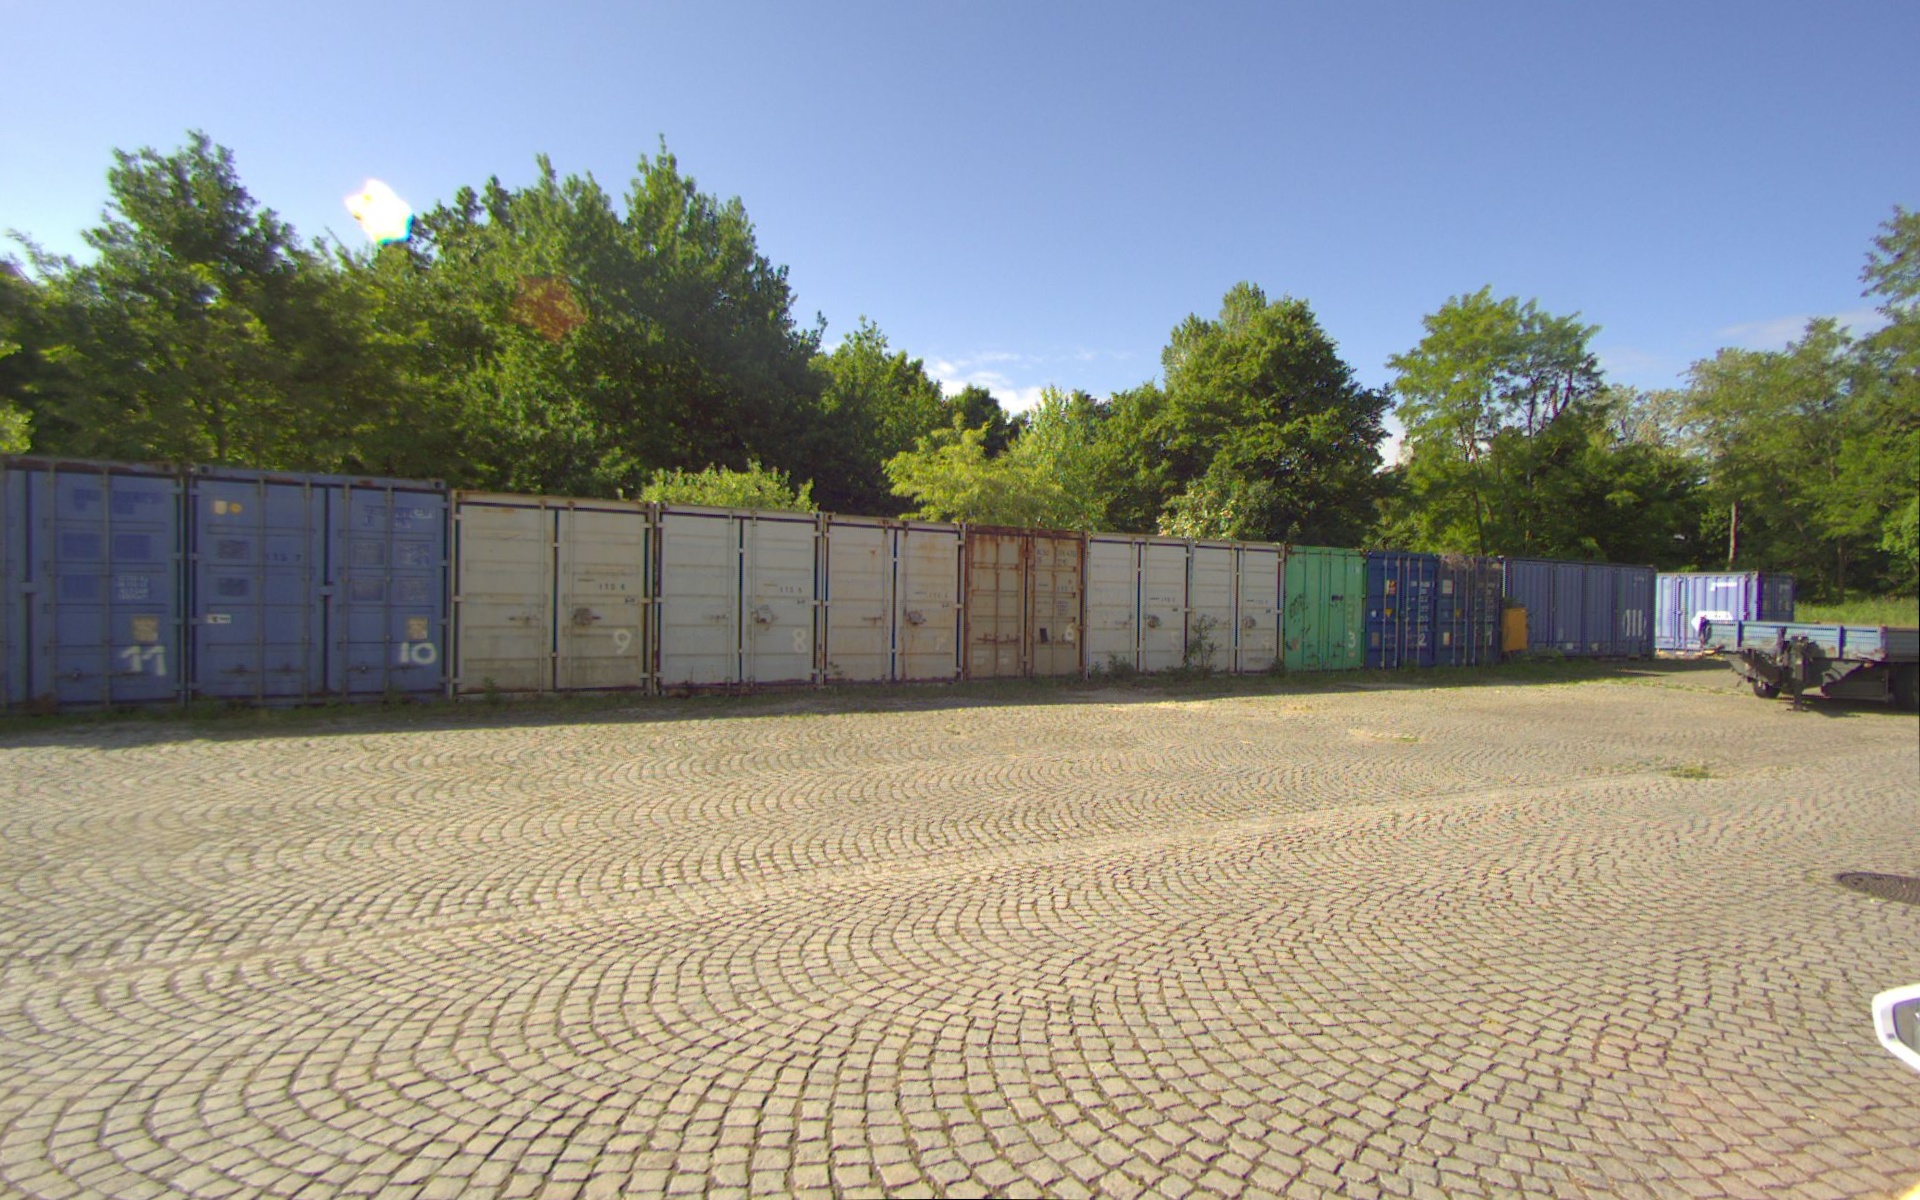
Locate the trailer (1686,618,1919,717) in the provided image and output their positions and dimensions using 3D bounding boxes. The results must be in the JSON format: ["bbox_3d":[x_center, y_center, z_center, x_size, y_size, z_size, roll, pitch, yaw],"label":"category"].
[{"bbox_3d":[15.479,1.111,17.671,4.803,1.433,2.628,2,0,-29],"label":"trailer"}]
